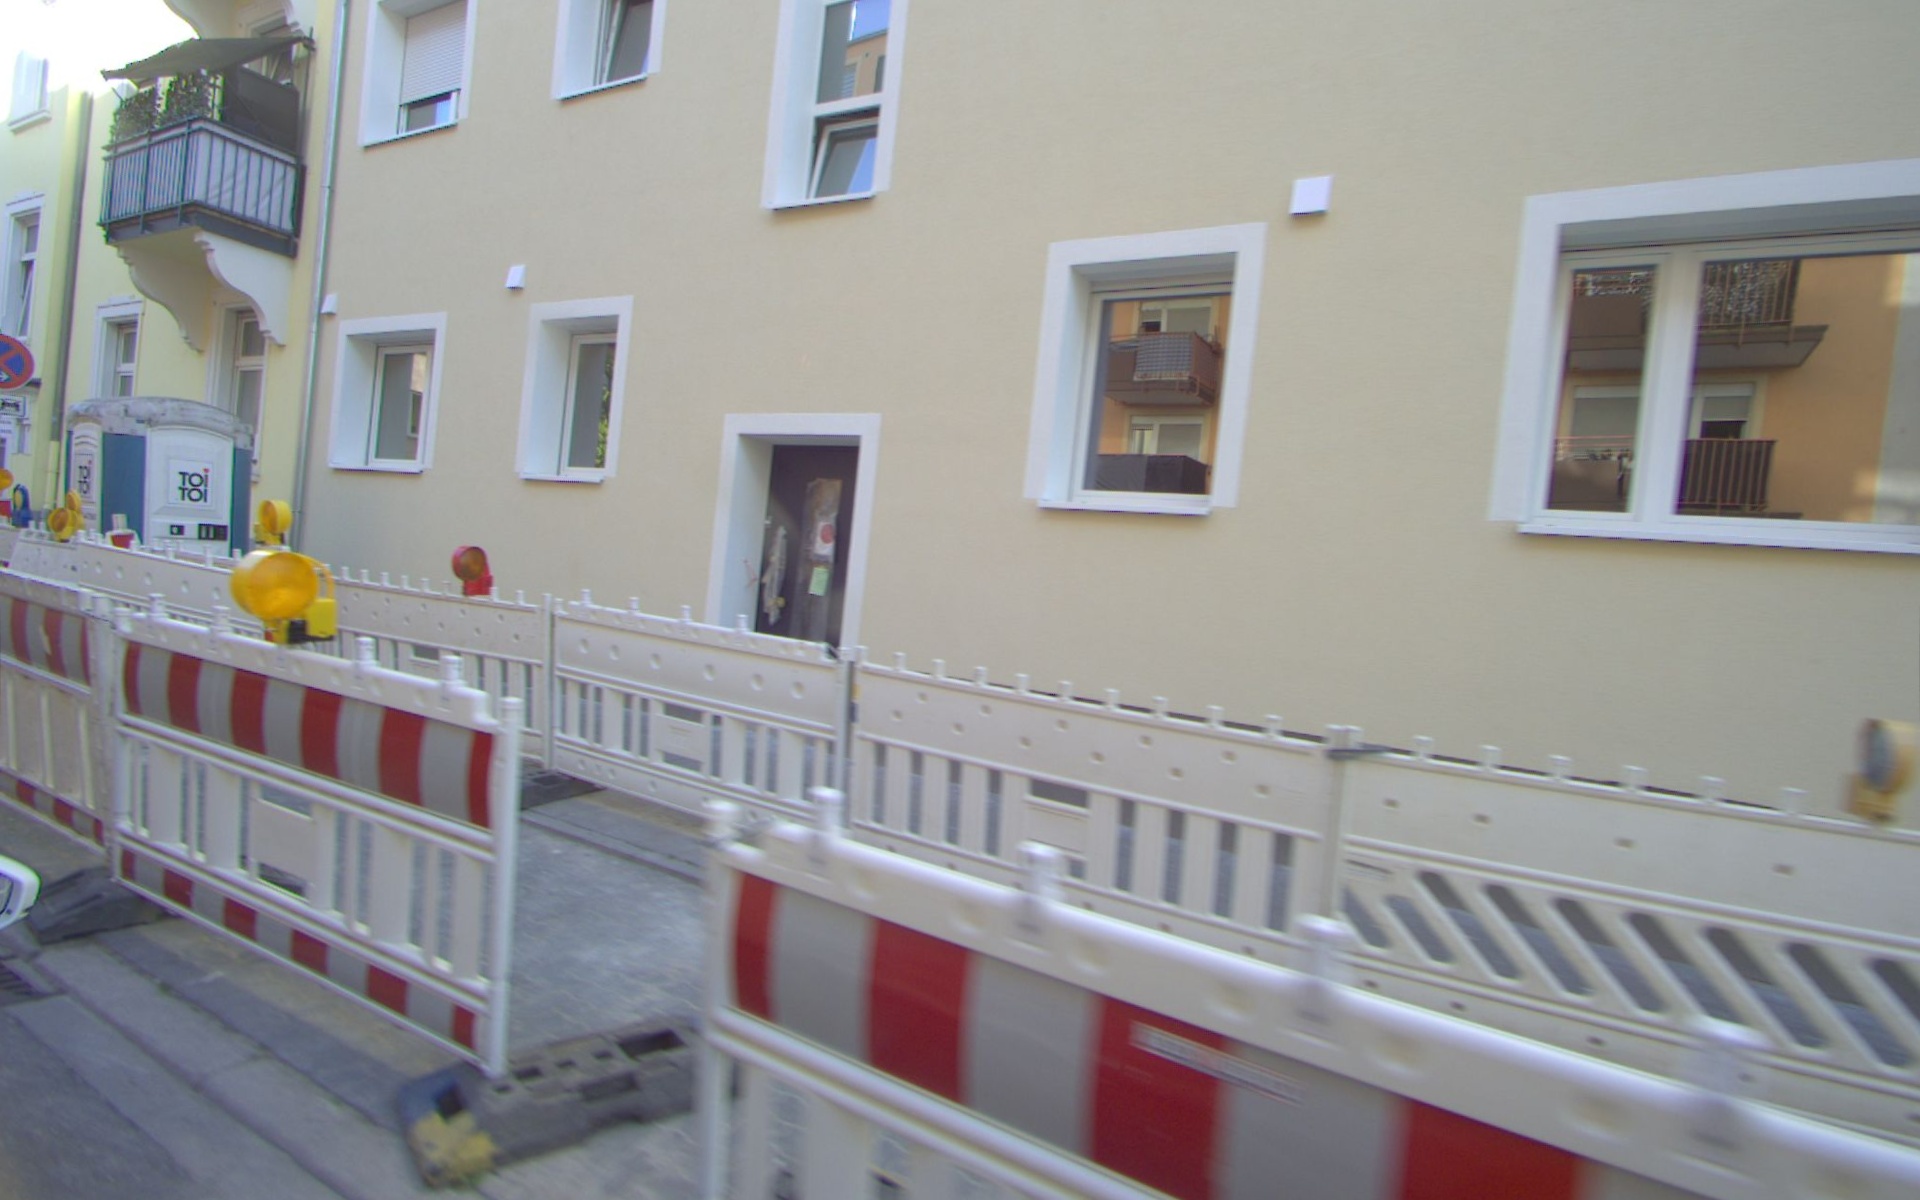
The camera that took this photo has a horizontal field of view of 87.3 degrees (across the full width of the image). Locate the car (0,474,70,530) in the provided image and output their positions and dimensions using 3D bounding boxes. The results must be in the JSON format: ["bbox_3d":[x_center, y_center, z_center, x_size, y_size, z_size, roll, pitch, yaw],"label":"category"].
[{"bbox_3d":[-29.180,-3.031,29.257,1.795,1.487,4.547,5,0,24],"label":"car"}]
